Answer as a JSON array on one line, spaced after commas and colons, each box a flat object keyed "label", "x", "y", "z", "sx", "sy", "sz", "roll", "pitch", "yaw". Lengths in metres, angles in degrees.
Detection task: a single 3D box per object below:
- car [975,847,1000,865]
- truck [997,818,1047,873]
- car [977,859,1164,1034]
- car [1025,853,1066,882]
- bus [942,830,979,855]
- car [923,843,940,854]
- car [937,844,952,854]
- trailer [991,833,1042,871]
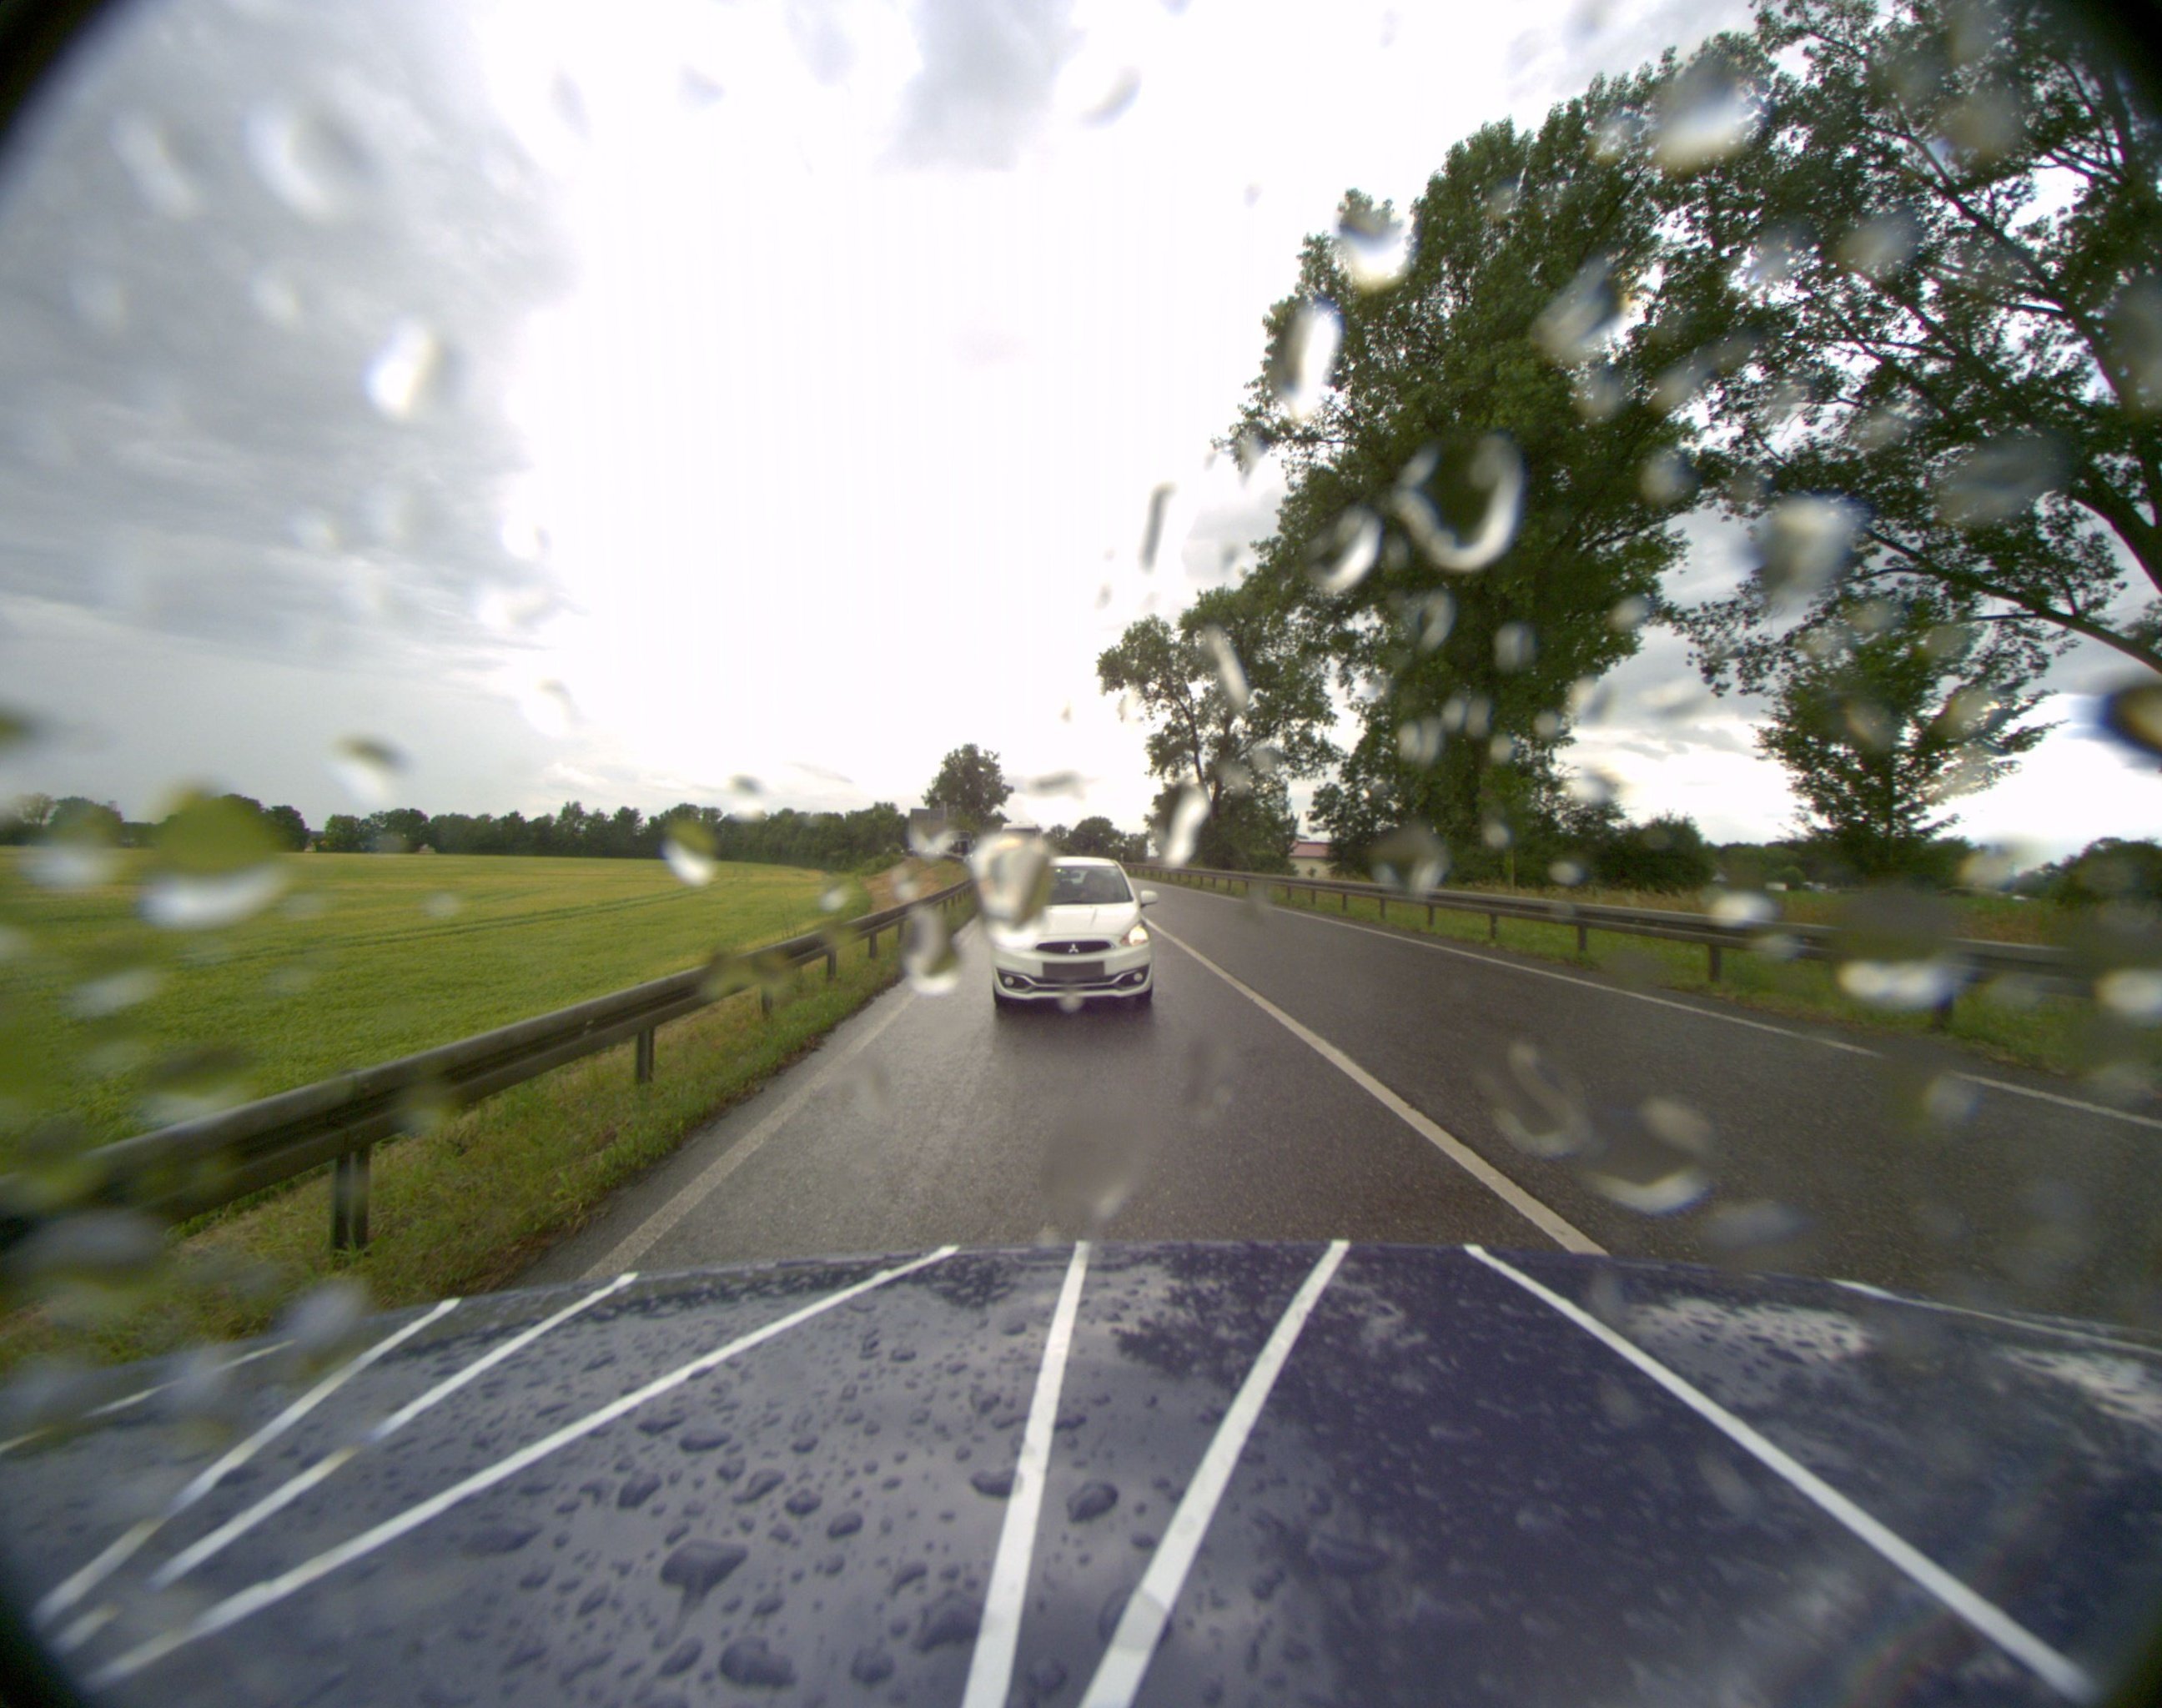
[{"label": "car", "x": -10.421, "y": 0.182, "z": 84.286, "sx": 2.044, "sy": 1.832, "sz": 5.329, "roll": -2, "pitch": 1, "yaw": -14}, {"label": "truck", "x": -4.271, "y": -0.614, "z": 53.920, "sx": 2.986, "sy": 3.589, "sz": 6.075, "roll": -2, "pitch": 1, "yaw": -9}, {"label": "car", "x": -0.148, "y": 0.856, "z": 8.932, "sx": 1.653, "sy": 1.461, "sz": 4.028, "roll": -2, "pitch": 1, "yaw": -2}, {"label": "car", "x": -1.941, "y": 0.688, "z": 40.521, "sx": 1.782, "sy": 1.380, "sz": 4.325, "roll": -2, "pitch": 1, "yaw": -8}, {"label": "bus", "x": -17.582, "y": -1.685, "z": 110.224, "sx": 2.968, "sy": 3.294, "sz": 14.812, "roll": -3, "pitch": 2, "yaw": -18}, {"label": "car", "x": -27.711, "y": -0.988, "z": 140.849, "sx": 2.002, "sy": 2.002, "sz": 5.326, "roll": -2, "pitch": 1, "yaw": -22}, {"label": "car", "x": -22.893, "y": -0.840, "z": 127.562, "sx": 1.816, "sy": 1.569, "sz": 3.993, "roll": -2, "pitch": 1, "yaw": -18}, {"label": "trailer", "x": -5.569, "y": -0.191, "z": 62.370, "sx": 2.986, "sy": 2.618, "sz": 15.668, "roll": -2, "pitch": 1, "yaw": -9}]
